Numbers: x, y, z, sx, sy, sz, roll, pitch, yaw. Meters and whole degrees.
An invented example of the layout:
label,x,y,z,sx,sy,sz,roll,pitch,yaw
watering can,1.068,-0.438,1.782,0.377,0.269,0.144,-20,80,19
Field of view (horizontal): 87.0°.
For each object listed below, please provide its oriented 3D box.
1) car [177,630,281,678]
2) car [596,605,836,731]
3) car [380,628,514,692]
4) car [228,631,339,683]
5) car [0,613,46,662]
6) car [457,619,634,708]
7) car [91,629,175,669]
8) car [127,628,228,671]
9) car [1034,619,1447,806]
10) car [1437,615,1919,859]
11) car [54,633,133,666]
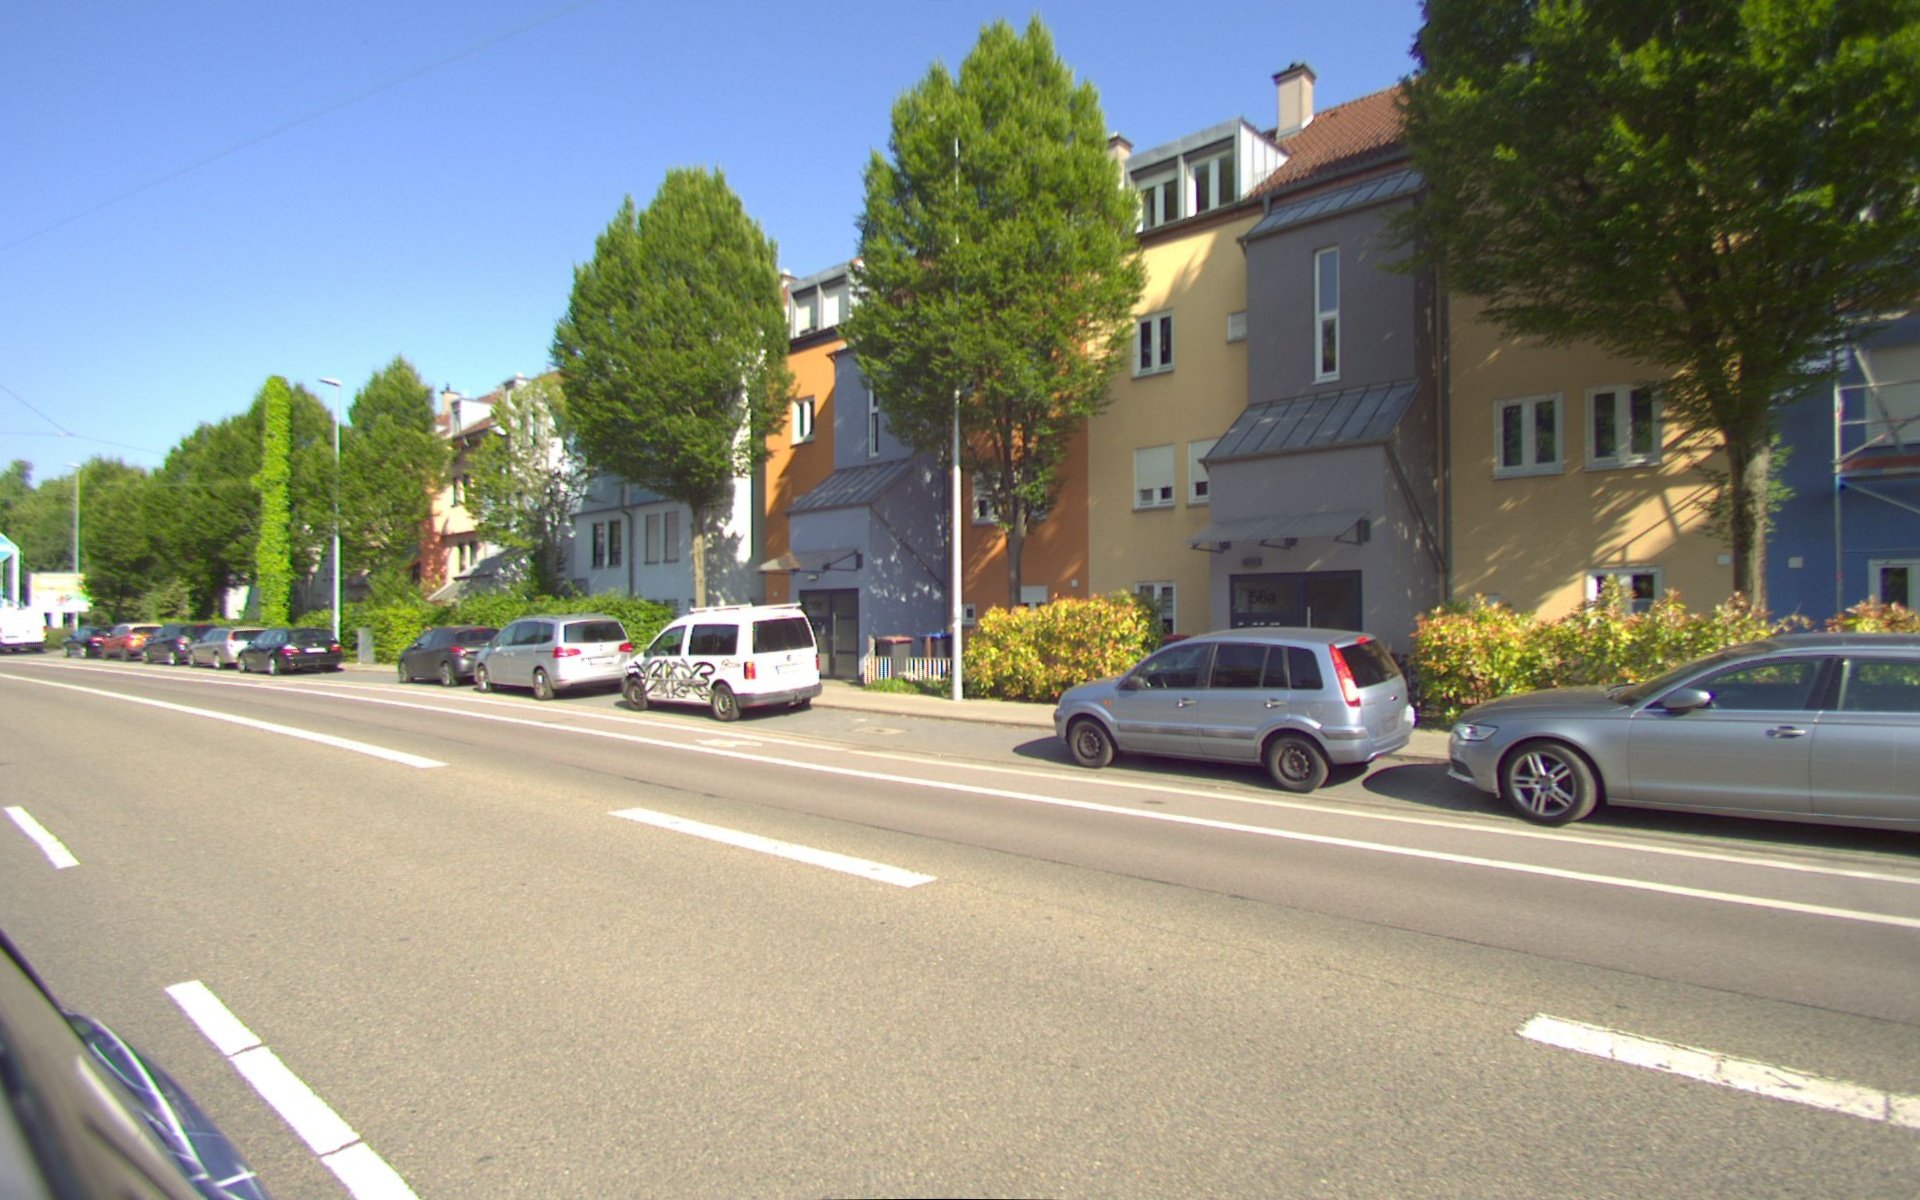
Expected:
label,x,y,z,sx,sy,sz,roll,pitch,yaw
car,-26.558,1.906,36.701,4.836,1.482,1.697,0,1,37
car,-4.452,1.123,18.088,4.577,1.859,1.745,-2,3,41
car,-13.167,1.478,25.880,4.055,1.477,1.599,-1,0,40
car,-22.037,1.799,32.893,4.905,1.483,1.692,-1,0,40
car,-52.187,2.045,55.000,6.164,2.476,2.135,-2,0,33
car,-9.155,1.304,22.116,4.823,1.713,1.650,-1,0,42
car,-35.537,2.055,43.454,4.153,1.586,1.747,-1,-1,36
car,-30.870,1.904,39.883,4.423,1.586,1.749,-1,-1,32
car,2.947,1.066,11.135,3.981,1.550,1.744,-1,3,43
car,6.500,0.948,7.857,4.751,1.522,1.732,-2,2,40
car,-39.880,2.246,46.535,4.702,1.435,1.638,-2,-2,35
